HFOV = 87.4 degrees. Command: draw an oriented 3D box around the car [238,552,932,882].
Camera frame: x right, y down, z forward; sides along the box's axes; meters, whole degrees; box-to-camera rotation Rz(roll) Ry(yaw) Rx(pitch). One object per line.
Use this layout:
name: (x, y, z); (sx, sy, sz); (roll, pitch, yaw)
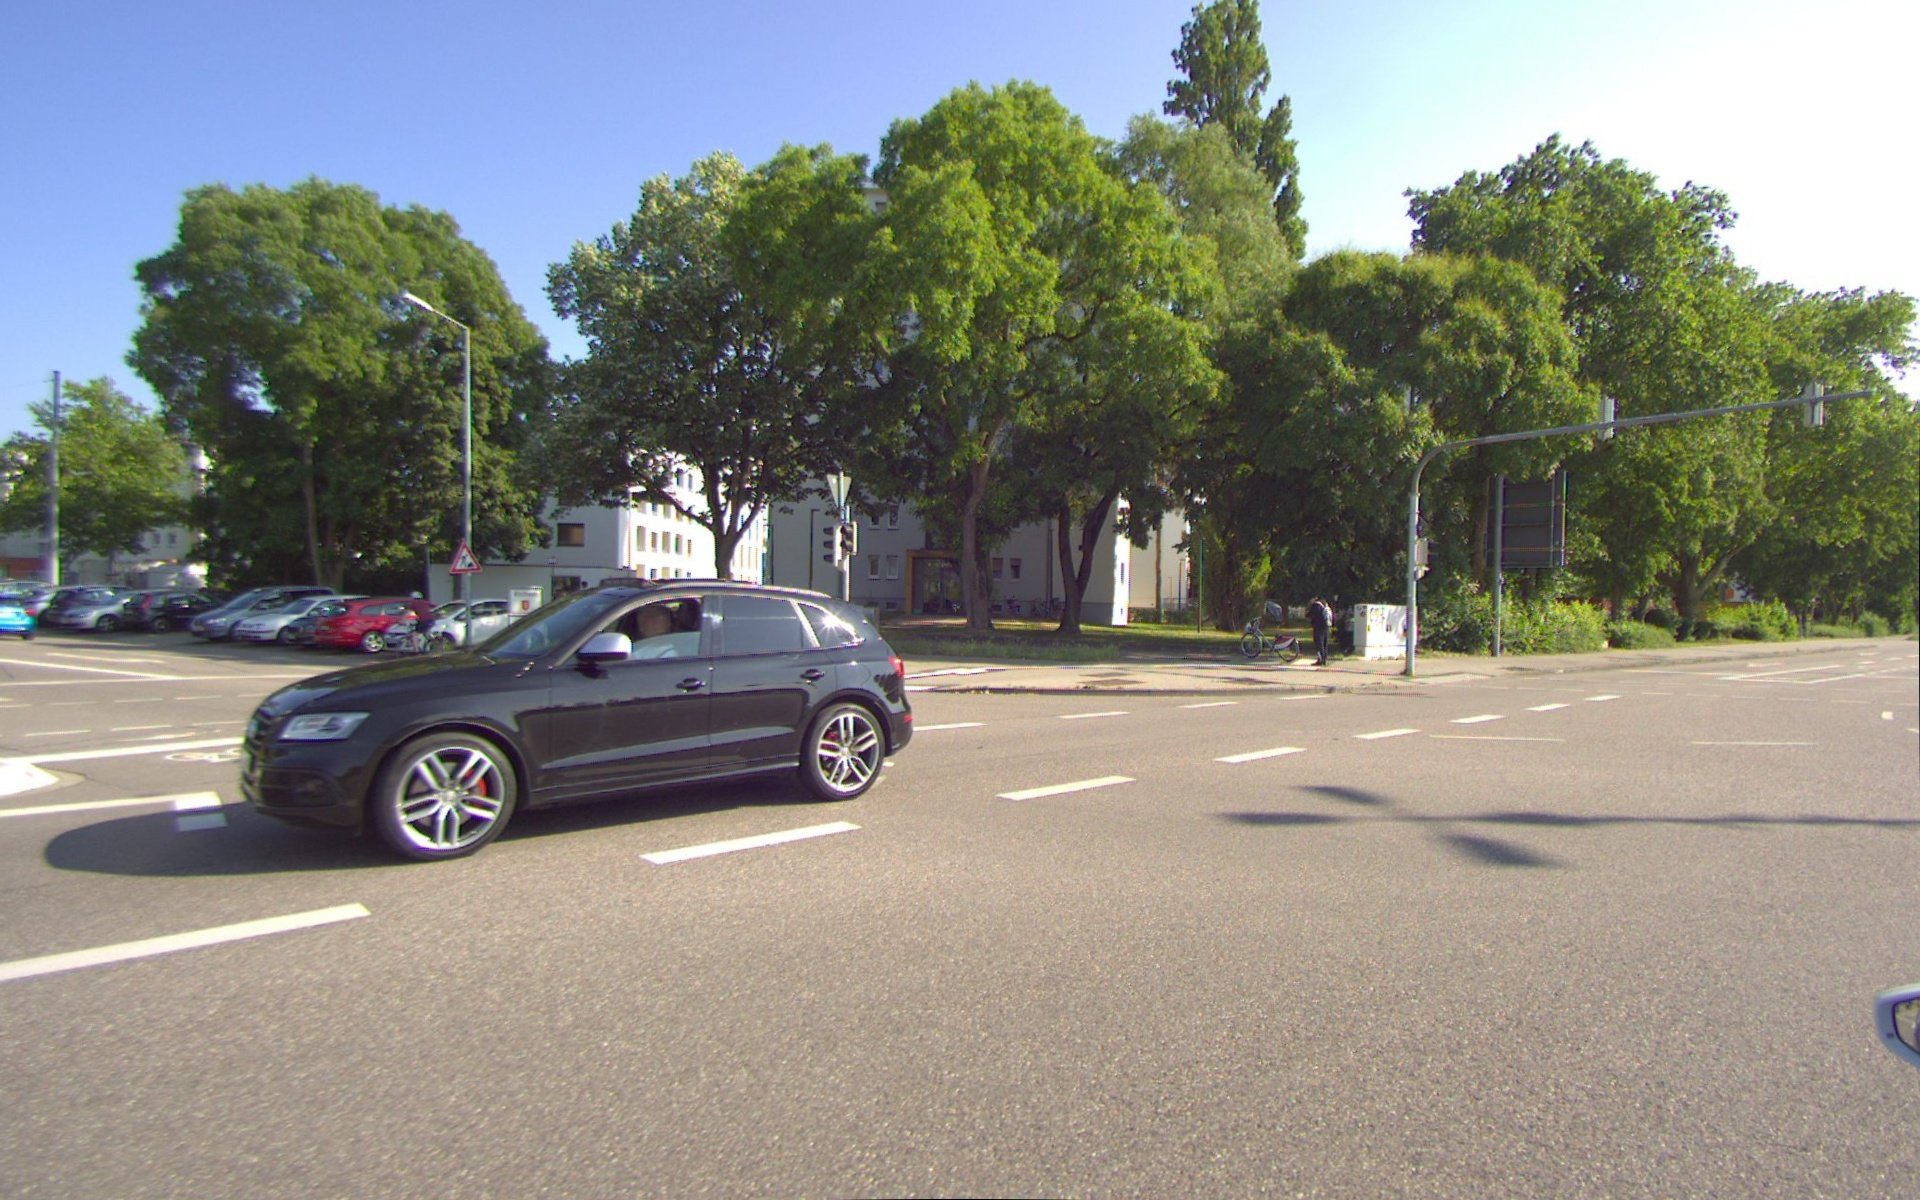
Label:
car: (-2.488, 0.617, 7.328); (4.352, 1.681, 1.971); (1, 0, -42)

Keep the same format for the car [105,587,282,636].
car: (-27.879, 0.365, 36.726); (1.752, 1.497, 4.805); (1, 3, 28)

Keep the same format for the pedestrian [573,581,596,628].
pedestrian: (-14.042, 0.149, 37.572); (0.696, 1.736, 0.621); (0, 1, -29)

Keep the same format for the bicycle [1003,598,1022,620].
bicycle: (2.601, 0.453, 49.745); (0.600, 1.080, 1.918); (2, -1, 13)

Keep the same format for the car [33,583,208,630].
car: (-32.146, 0.196, 38.641); (1.752, 1.497, 4.805); (1, 4, 28)

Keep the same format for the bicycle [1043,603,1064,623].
bicycle: (4.622, 0.615, 49.405); (0.657, 0.932, 2.408); (1, 1, 14)

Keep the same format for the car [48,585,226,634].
car: (-30.122, 0.287, 36.938); (1.752, 1.497, 4.706); (1, 4, 28)

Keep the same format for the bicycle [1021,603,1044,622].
bicycle: (3.599, 0.593, 49.681); (0.662, 0.887, 2.486); (1, 1, 14)

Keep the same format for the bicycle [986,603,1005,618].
bicycle: (1.796, 0.507, 50.181); (0.496, 0.718, 2.117); (1, 1, 14)

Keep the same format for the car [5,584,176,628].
car: (-34.313, 0.177, 39.808); (1.752, 1.497, 4.769); (1, 3, 28)

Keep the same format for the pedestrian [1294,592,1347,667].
pedestrian: (8.808, 0.701, 24.552); (0.922, 1.775, 0.810); (0, 1, -36)

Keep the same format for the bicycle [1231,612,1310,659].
bicycle: (8.025, 0.898, 26.016); (0.627, 1.134, 1.893); (1, 1, -40)

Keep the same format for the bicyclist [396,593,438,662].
bicyclist: (-12.725, 0.626, 23.528); (0.591, 1.581, 0.609); (1, 1, 20)

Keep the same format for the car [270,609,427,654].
car: (-18.201, 0.890, 30.059); (1.440, 1.209, 3.778); (1, 0, 32)

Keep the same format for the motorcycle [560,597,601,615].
motorcycle: (-20.604, 0.323, 54.519); (2.006, 0.978, 0.526); (1, 1, -7)

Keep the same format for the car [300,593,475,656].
car: (-16.441, 0.642, 29.020); (1.755, 1.435, 3.988); (1, 4, 33)

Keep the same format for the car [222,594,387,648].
car: (-20.459, 0.617, 31.518); (1.753, 1.541, 3.992); (1, 0, 30)

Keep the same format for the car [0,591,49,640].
car: (-30.193, 0.441, 31.113); (4.169, 1.433, 1.781); (1, 0, 31)

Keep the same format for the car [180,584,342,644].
car: (-22.795, 0.439, 32.914); (1.753, 1.835, 3.992); (1, 0, 30)

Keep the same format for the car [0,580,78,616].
car: (-43.004, -0.070, 45.061); (1.752, 1.497, 4.805); (1, 3, 28)

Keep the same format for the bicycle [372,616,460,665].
bicycle: (-12.761, 0.940, 23.536); (2.031, 1.054, 0.621); (1, 1, 20)

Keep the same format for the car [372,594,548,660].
car: (-13.641, 0.670, 27.615); (1.754, 1.459, 3.990); (1, 3, 31)
